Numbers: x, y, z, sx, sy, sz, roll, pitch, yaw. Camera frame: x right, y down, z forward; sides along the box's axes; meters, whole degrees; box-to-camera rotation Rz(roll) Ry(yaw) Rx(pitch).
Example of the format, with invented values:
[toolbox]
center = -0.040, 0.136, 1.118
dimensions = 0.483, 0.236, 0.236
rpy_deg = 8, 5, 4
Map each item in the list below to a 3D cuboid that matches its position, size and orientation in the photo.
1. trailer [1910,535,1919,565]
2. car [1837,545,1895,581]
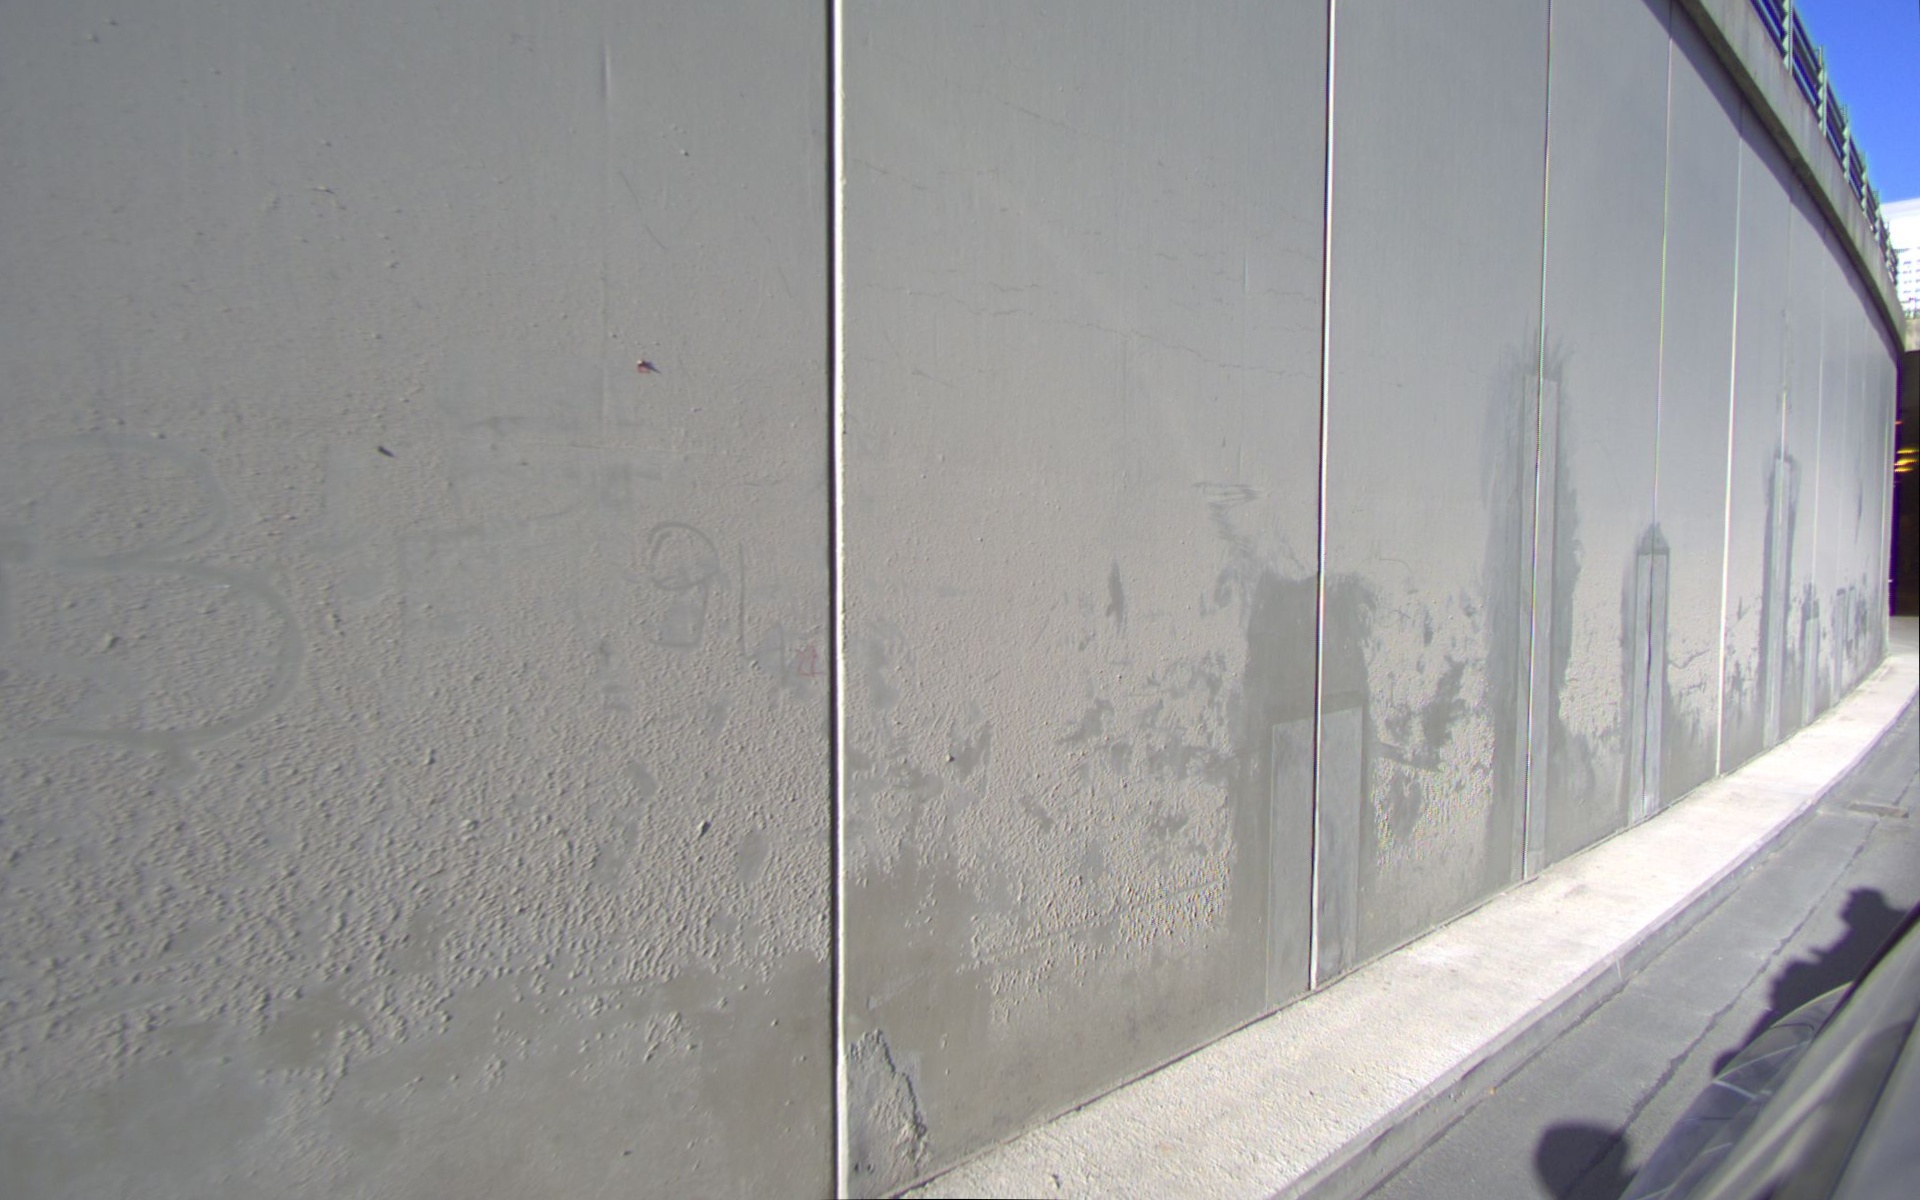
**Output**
[trailer]
center = 67.293, -3.470, 69.574
dimensions = 2.197, 2.038, 3.431
rpy_deg = 0, 3, 30
[car]
center = 43.228, -1.787, 48.360
dimensions = 1.889, 1.564, 4.181
rpy_deg = 0, 3, 40
